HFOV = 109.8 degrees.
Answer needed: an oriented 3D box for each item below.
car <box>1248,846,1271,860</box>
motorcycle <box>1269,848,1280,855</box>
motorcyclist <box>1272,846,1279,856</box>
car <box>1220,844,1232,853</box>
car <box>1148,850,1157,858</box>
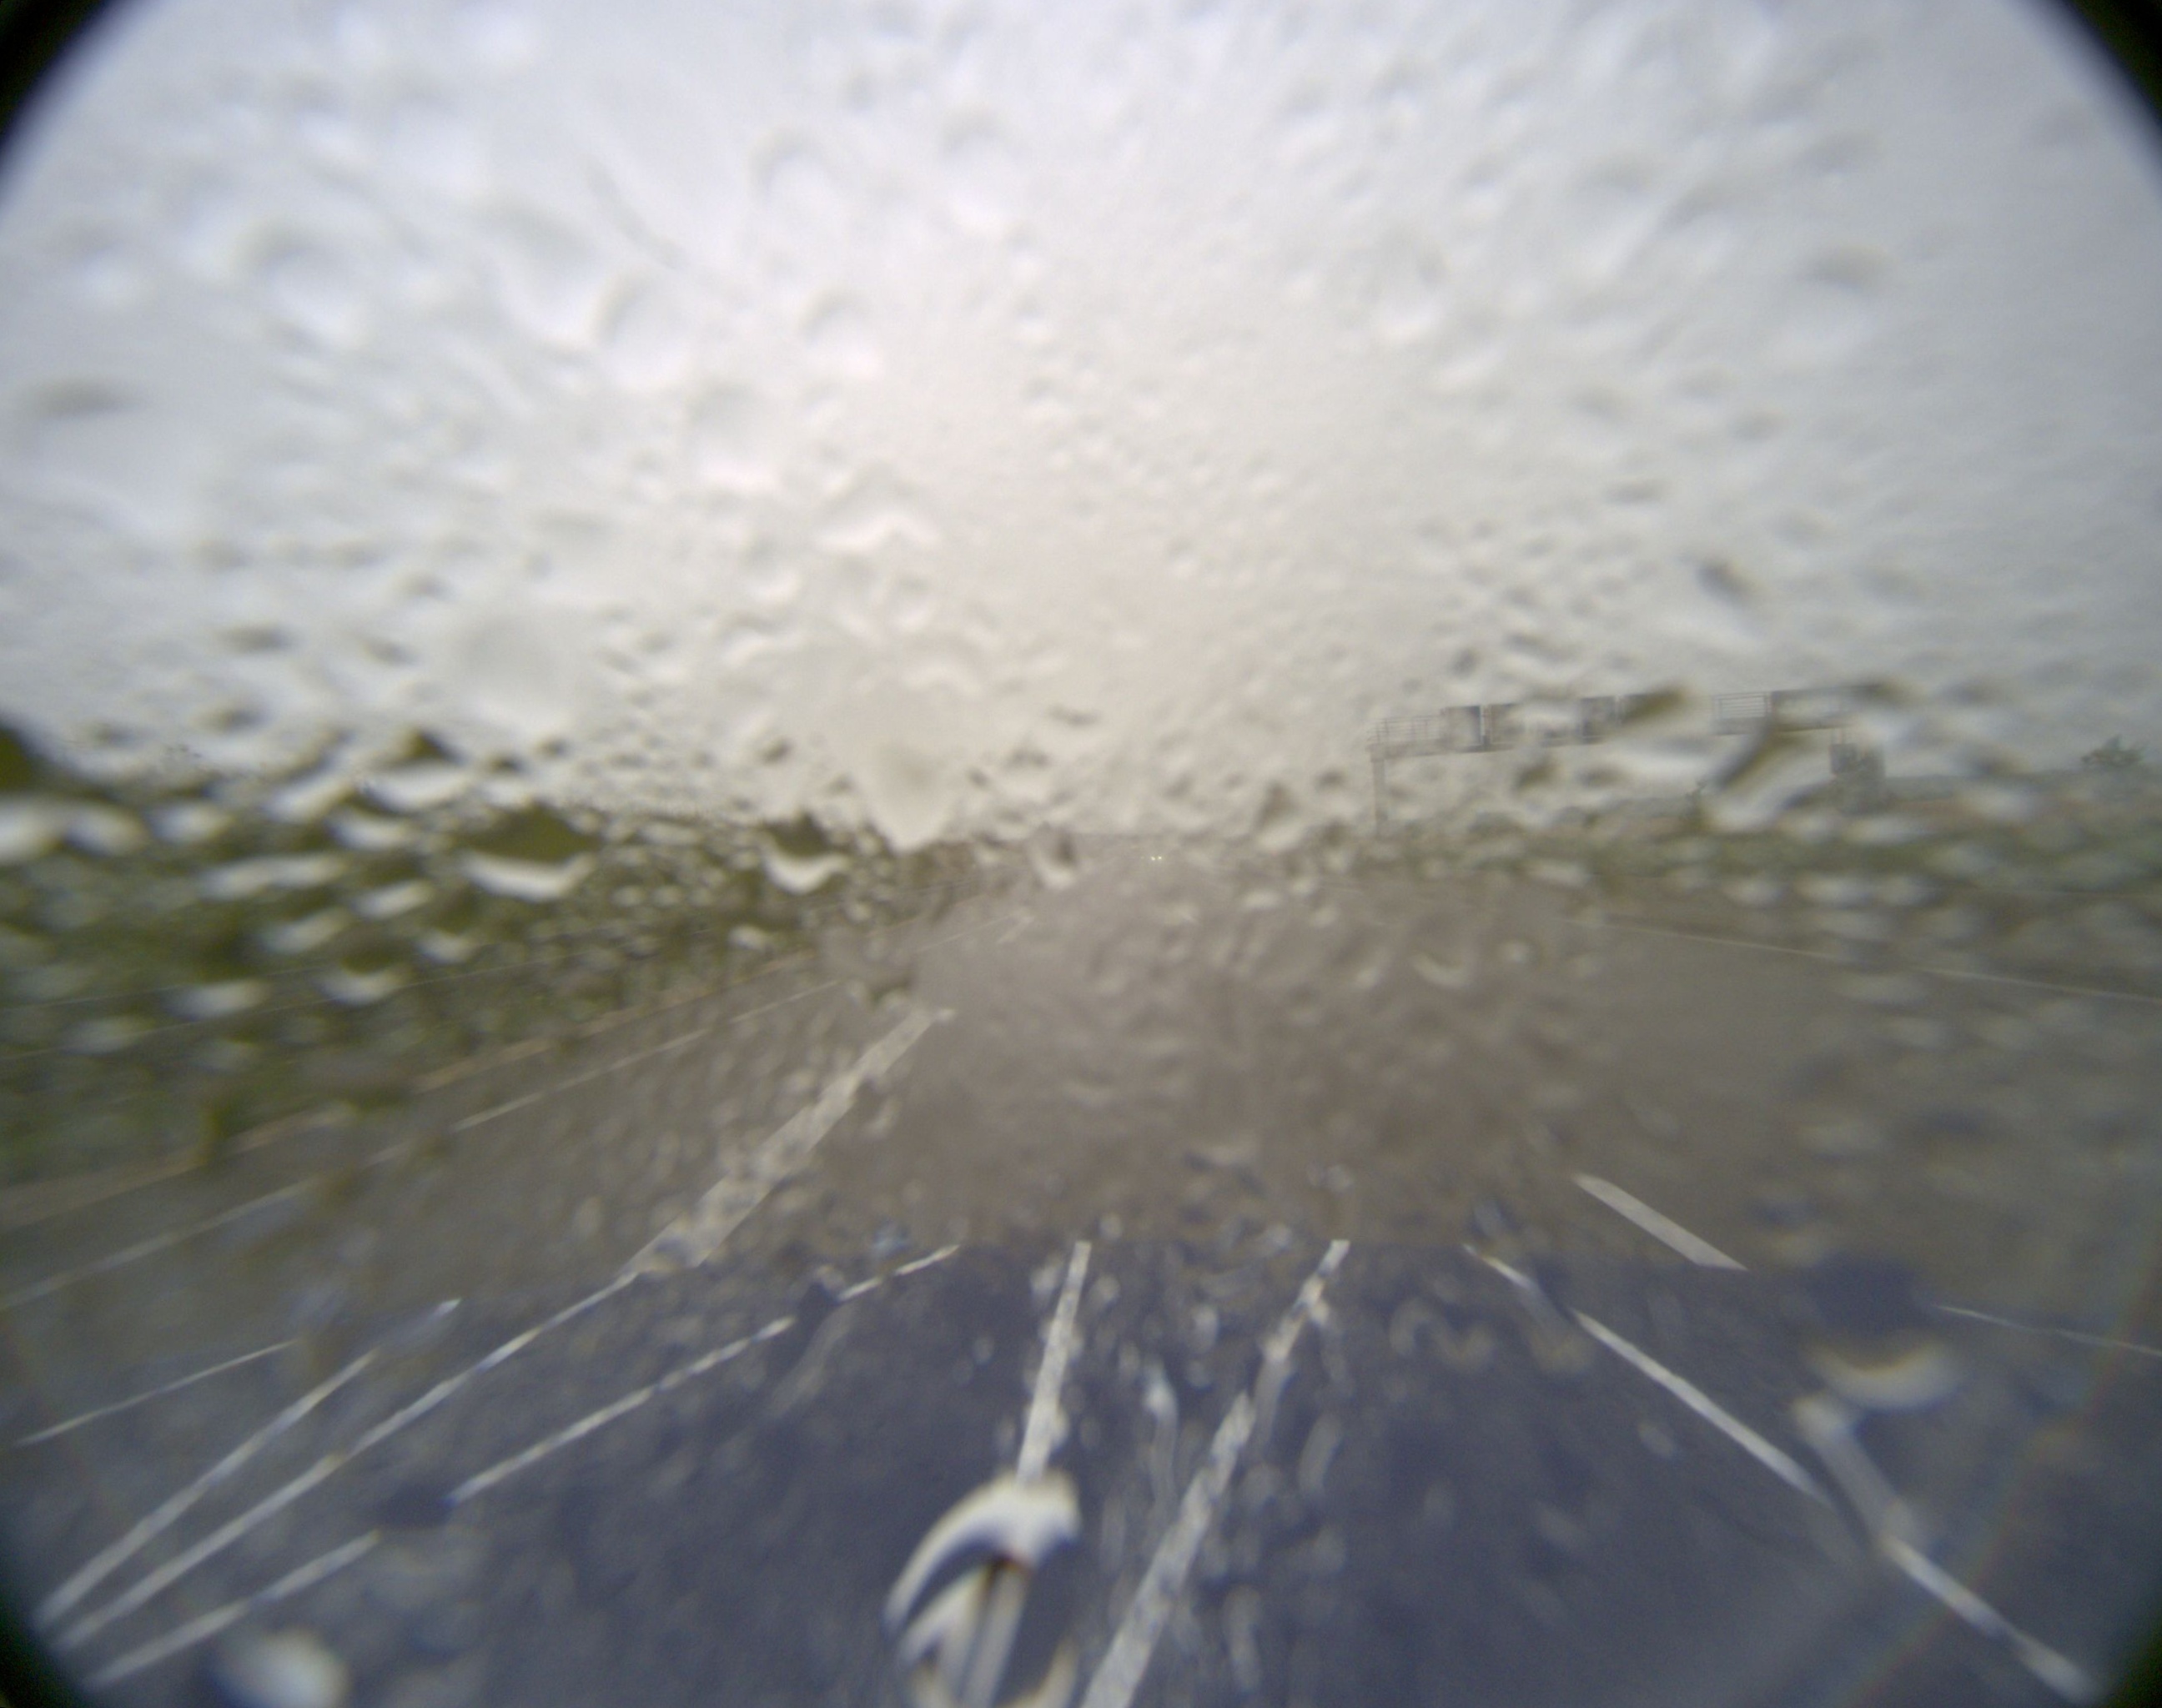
[{"bbox_3d":[23.049,-0.192,98.261,1.998,1.674,4.444,-2,0,2],"label":"car"},{"bbox_3d":[28.289,-0.388,110.987,0.921,0.908,3.545,-2,0,3],"label":"motorcycle"},{"bbox_3d":[28.215,-0.428,110.069,0.750,1.301,0.941,-2,1,2],"label":"motorcyclist"},{"bbox_3d":[26.117,-0.958,136.801,1.699,1.477,4.001,-2,0,3],"label":"car"},{"bbox_3d":[13.906,0.031,147.569,1.700,1.543,3.734,-2,1,4],"label":"car"}]
